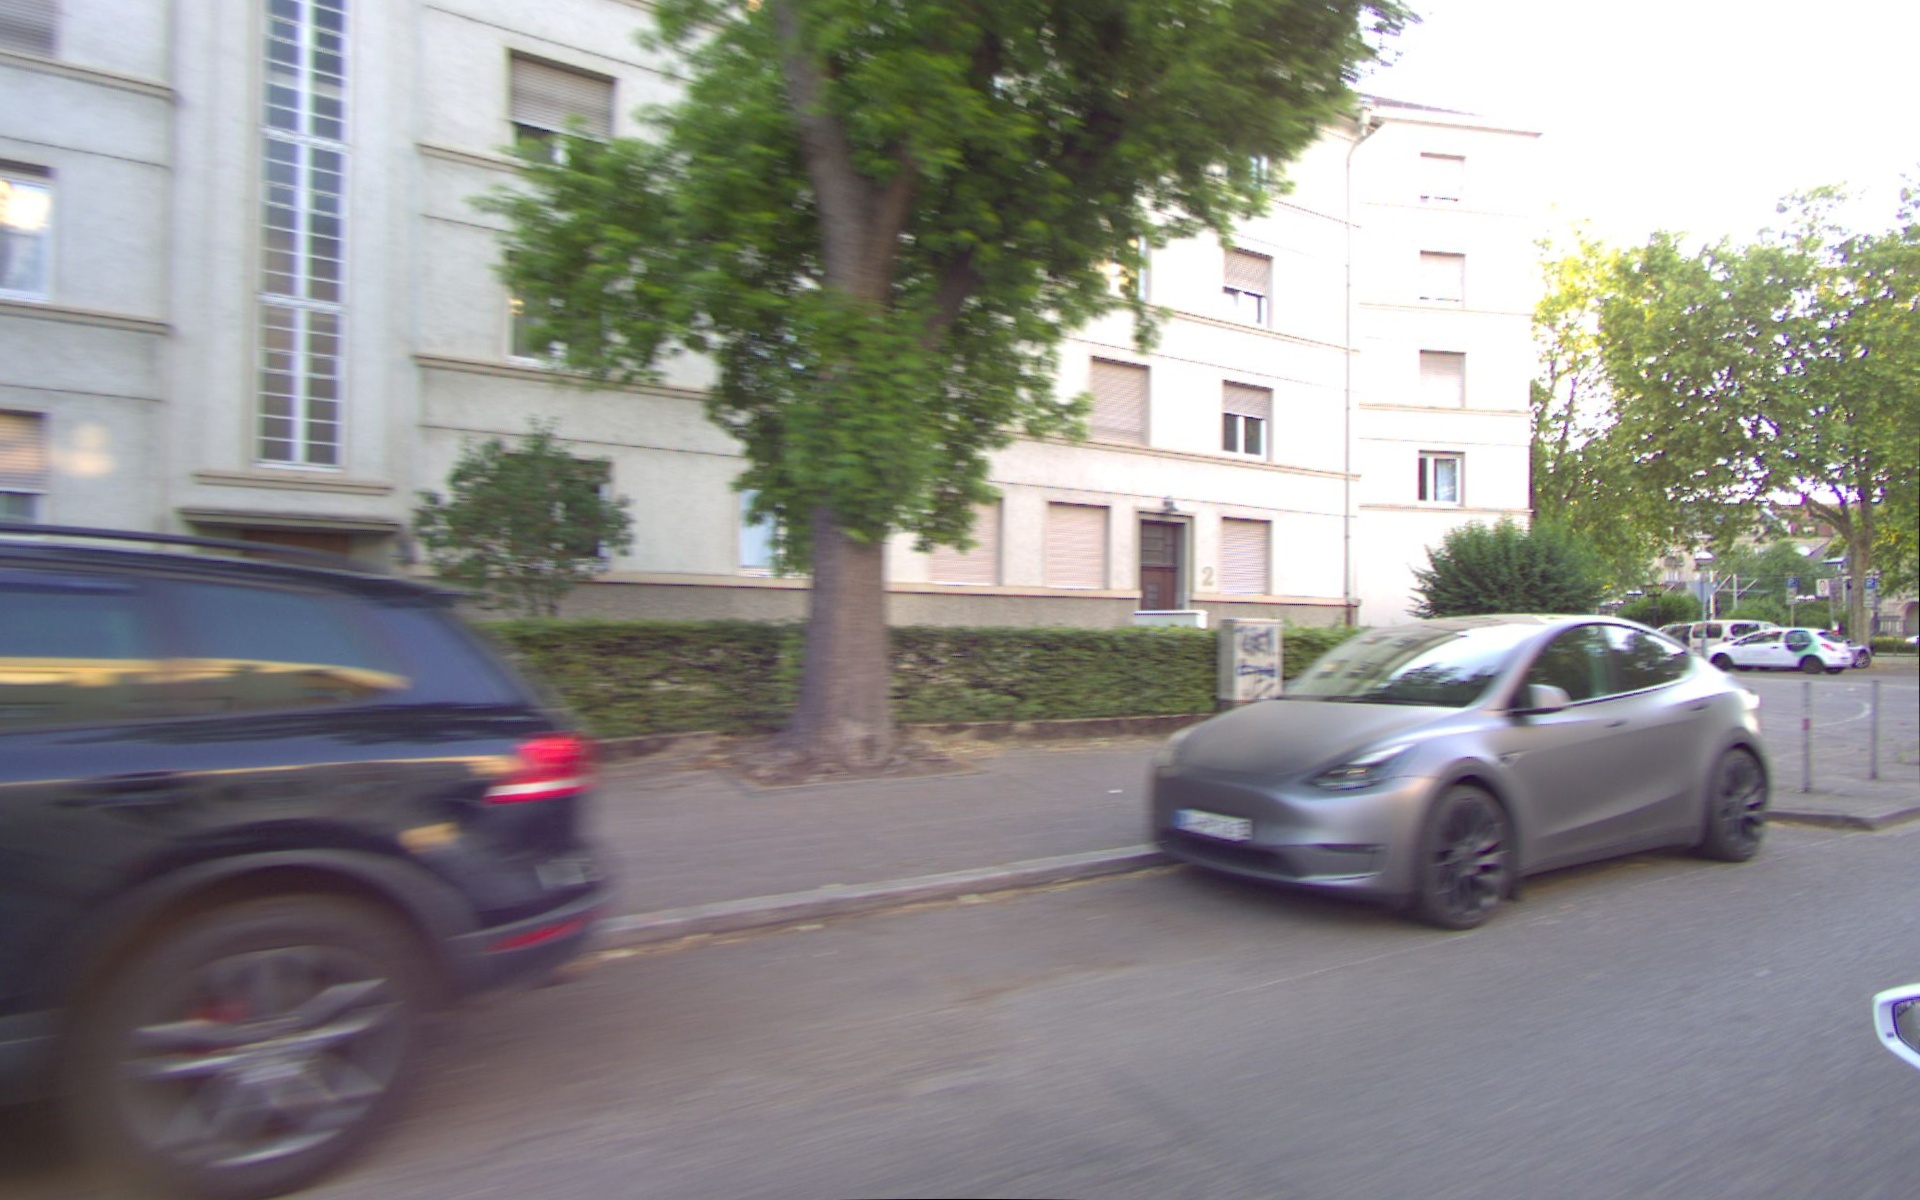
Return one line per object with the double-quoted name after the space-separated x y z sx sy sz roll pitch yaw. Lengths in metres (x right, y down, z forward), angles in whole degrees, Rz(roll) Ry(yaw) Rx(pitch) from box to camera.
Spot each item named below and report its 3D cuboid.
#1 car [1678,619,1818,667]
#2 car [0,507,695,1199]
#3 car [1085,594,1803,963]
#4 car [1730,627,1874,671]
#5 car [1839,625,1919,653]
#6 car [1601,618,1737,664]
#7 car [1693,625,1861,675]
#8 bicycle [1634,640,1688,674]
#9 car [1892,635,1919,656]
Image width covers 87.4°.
31.335 1.695 40.002 4.548 1.824 1.821 0 -1 -10 "car"
-3.328 0.690 2.746 4.715 1.741 1.945 1 -3 -30 "car"
3.221 0.889 6.491 4.551 1.638 1.945 1 -3 -30 "car"
30.838 1.754 36.793 4.555 1.501 1.819 0 -1 -16 "car"
63.466 2.639 69.032 4.545 1.866 2.082 0 -1 -8 "car"
29.750 1.691 42.181 4.548 1.866 2.081 0 -1 -10 "car"
27.234 1.617 33.613 1.977 1.539 3.967 1 -1 -31 "car"
23.076 1.877 33.097 0.470 1.056 1.824 0 -1 -1 "bicycle"
73.497 3.480 75.678 1.963 1.550 4.639 1 -1 -7 "car"
